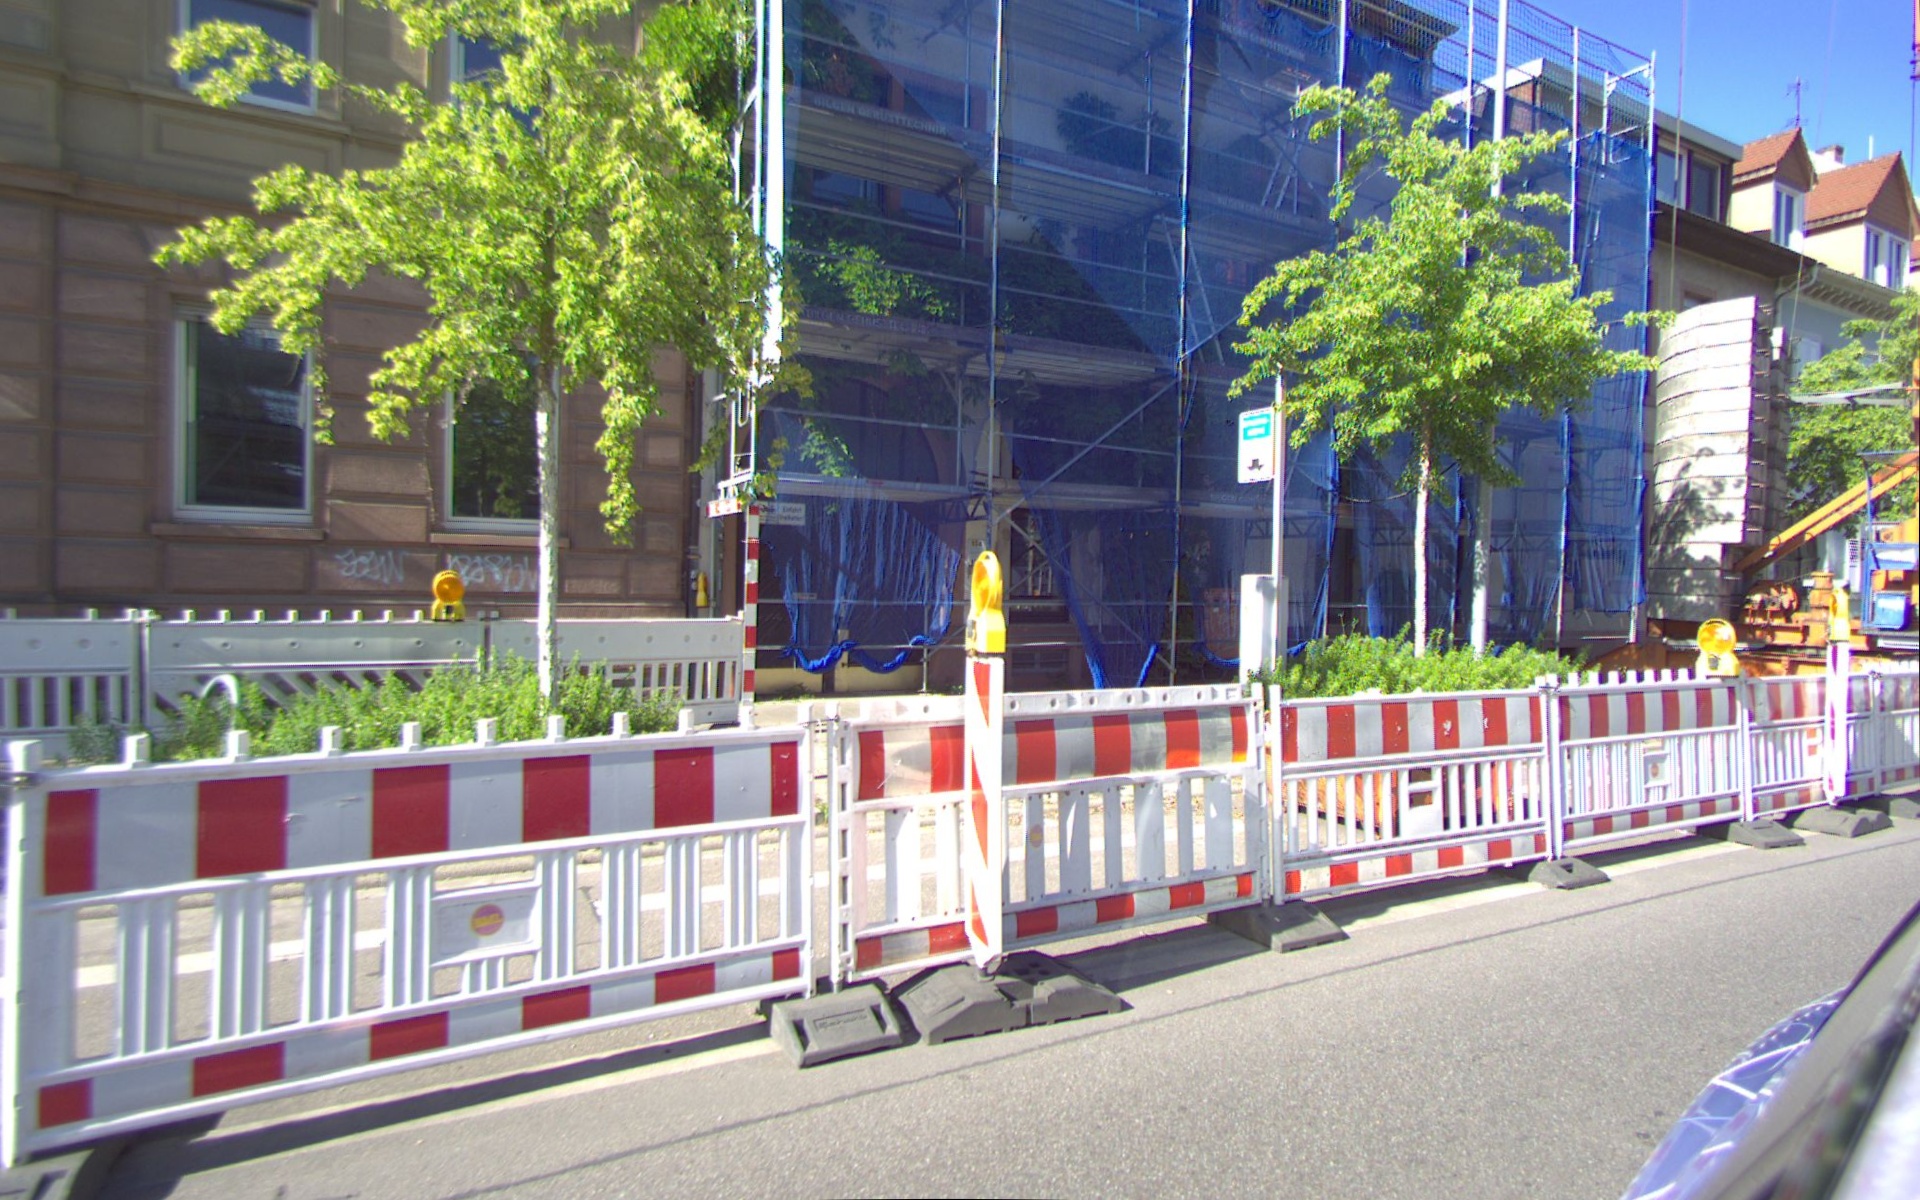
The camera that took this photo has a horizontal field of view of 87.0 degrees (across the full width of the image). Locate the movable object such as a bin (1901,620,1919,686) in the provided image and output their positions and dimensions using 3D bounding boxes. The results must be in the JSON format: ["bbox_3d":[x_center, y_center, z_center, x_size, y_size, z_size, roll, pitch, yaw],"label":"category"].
[{"bbox_3d":[16.270,0.902,16.858,0.768,1.070,0.590,1,5,-32],"label":"movable object such as a bin"}]
